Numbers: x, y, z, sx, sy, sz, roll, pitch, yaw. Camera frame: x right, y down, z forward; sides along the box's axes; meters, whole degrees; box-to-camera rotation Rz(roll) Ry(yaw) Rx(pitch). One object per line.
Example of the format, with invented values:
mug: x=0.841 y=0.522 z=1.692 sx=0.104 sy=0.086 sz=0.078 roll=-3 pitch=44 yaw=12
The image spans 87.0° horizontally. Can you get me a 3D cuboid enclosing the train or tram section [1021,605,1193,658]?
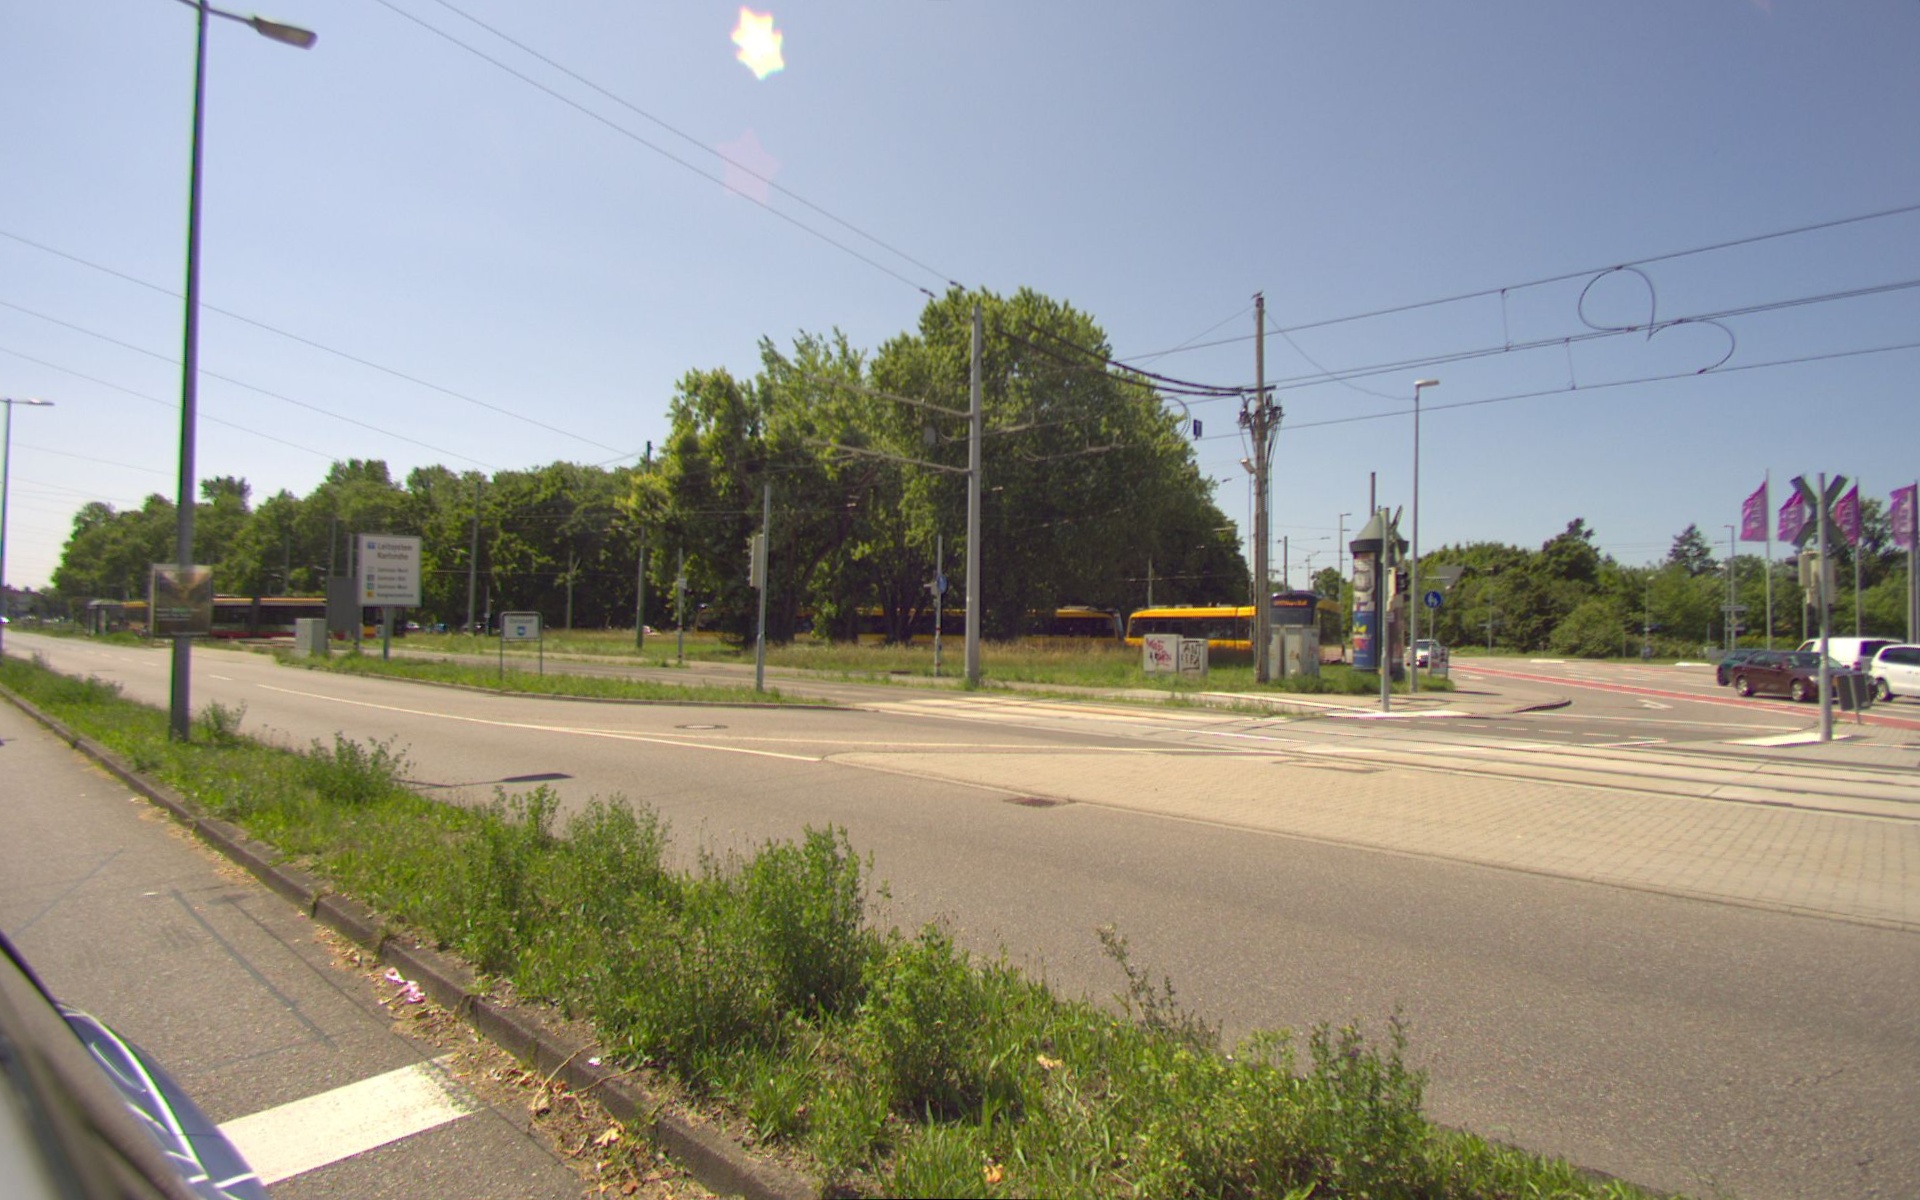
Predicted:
train or tram section: x=10.999 y=2.433 z=77.959 sx=14.054 sy=3.788 sz=2.982 roll=-2 pitch=-2 yaw=45

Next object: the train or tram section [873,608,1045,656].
train or tram section: x=-0.057 y=2.693 z=83.961 sx=14.028 sy=3.788 sz=3.018 roll=-1 pitch=-2 yaw=8

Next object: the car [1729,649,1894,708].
car: x=24.551 y=2.211 z=29.401 sx=1.747 sy=1.468 sz=4.270 roll=0 pitch=-2 yaw=11

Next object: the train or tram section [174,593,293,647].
train or tram section: x=-61.319 y=1.779 z=85.304 sx=12.694 sy=4.287 sz=2.996 roll=-2 pitch=-2 yaw=29

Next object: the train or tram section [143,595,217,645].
train or tram section: x=-71.336 y=1.907 z=92.393 sx=12.744 sy=4.287 sz=2.984 roll=-2 pitch=-2 yaw=41

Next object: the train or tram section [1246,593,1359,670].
train or tram section: x=18.752 y=1.764 z=56.535 sx=2.988 sy=3.788 sz=12.970 roll=-1 pitch=-2 yaw=5

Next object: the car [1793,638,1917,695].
car: x=32.433 y=2.370 z=36.815 sx=1.645 sy=1.921 sz=3.982 roll=0 pitch=-2 yaw=13

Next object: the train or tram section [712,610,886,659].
train or tram section: x=-13.313 y=2.833 z=83.779 sx=13.962 sy=3.788 sz=3.032 roll=0 pitch=-2 yaw=-11

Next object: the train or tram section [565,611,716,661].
train or tram section: x=-25.383 y=2.833 z=80.851 sx=11.246 sy=3.788 sz=3.035 roll=0 pitch=-2 yaw=-17

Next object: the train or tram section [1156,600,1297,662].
train or tram section: x=17.508 y=2.098 z=67.841 sx=2.974 sy=3.788 sz=11.654 roll=0 pitch=-2 yaw=-20

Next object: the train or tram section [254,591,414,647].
train or tram section: x=-49.999 y=1.586 z=80.831 sx=12.629 sy=4.287 sz=3.011 roll=-1 pitch=-2 yaw=15

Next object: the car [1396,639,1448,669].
car: x=25.962 y=2.997 z=57.047 sx=1.729 sy=1.558 sz=4.241 roll=0 pitch=-2 yaw=12

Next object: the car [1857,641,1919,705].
car: x=27.638 y=2.069 z=28.176 sx=1.799 sy=1.736 sz=4.812 roll=1 pitch=-1 yaw=12
